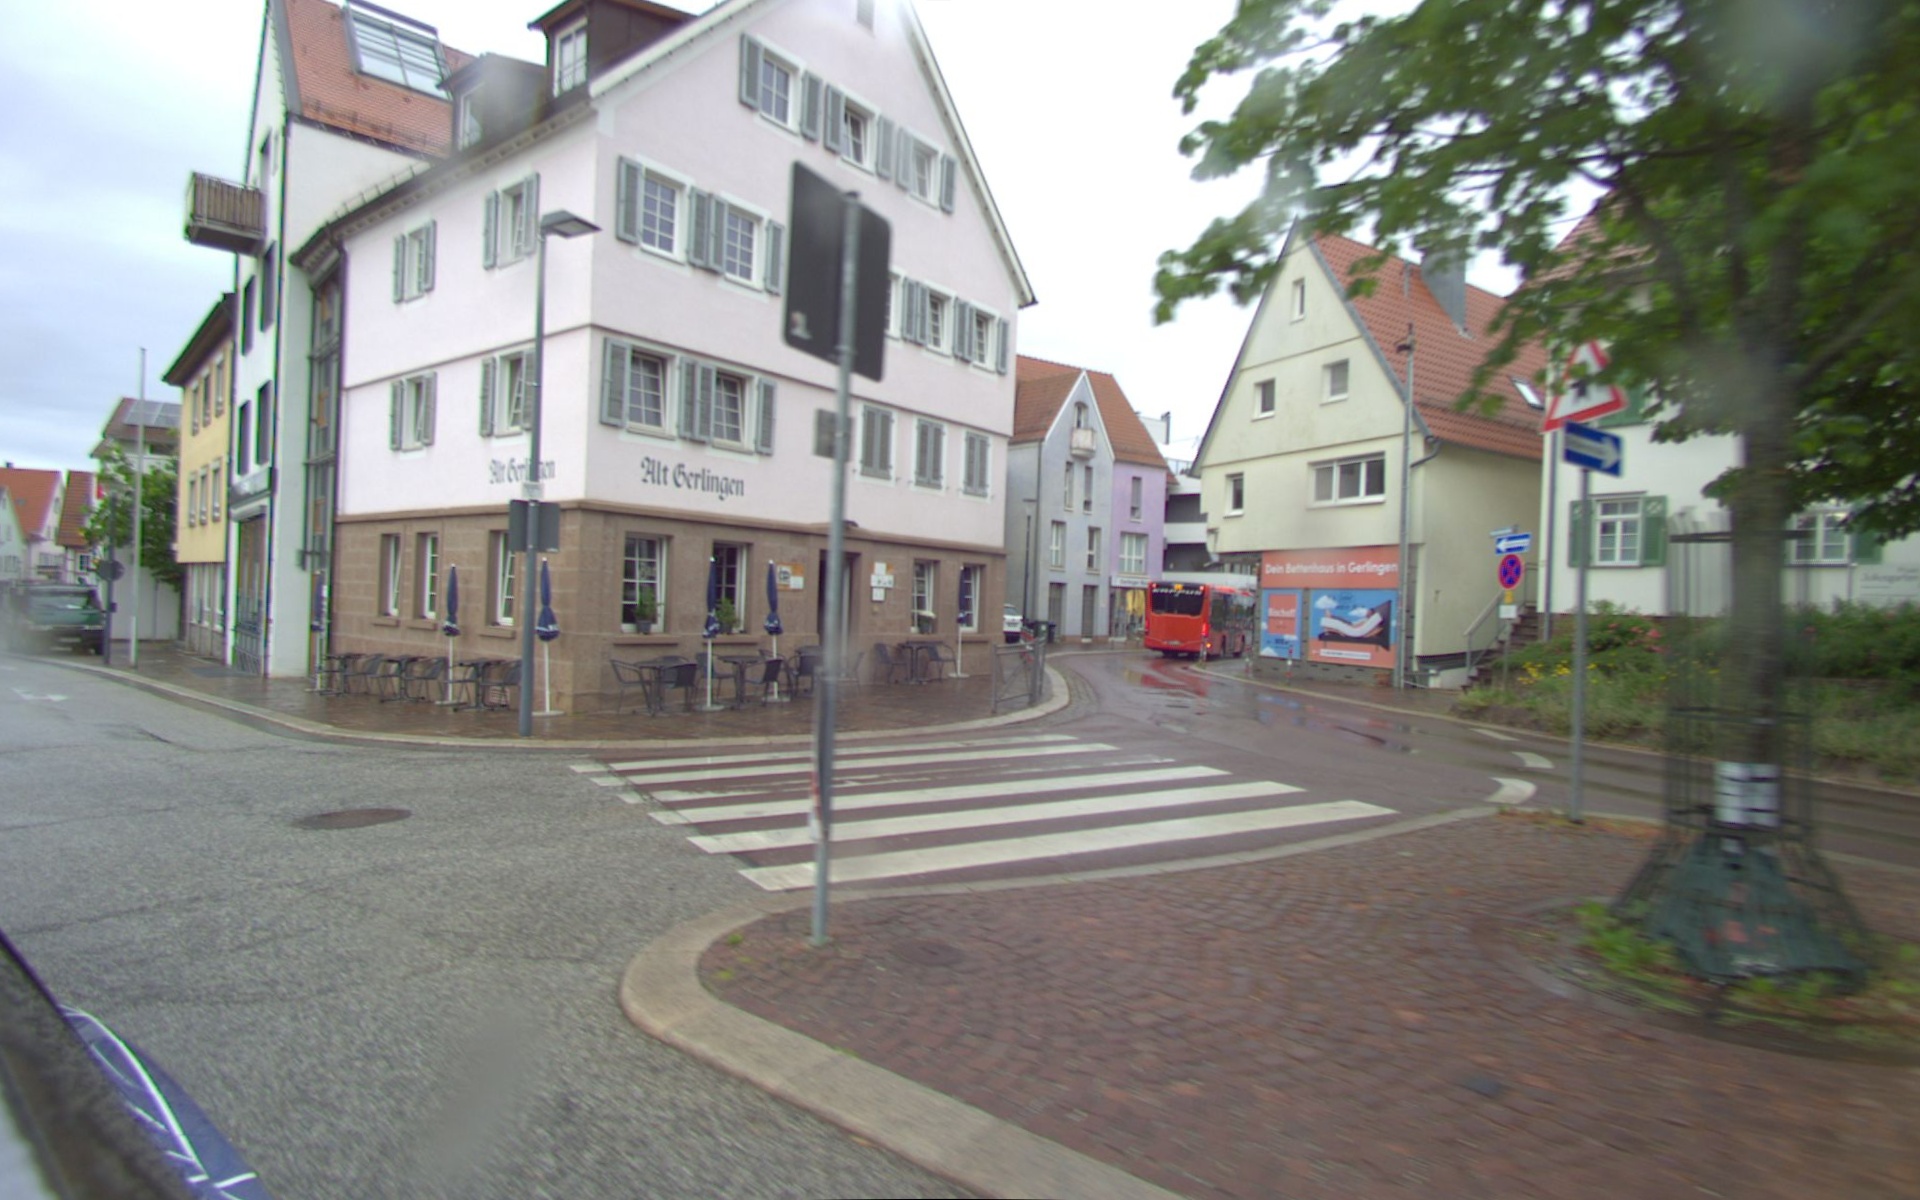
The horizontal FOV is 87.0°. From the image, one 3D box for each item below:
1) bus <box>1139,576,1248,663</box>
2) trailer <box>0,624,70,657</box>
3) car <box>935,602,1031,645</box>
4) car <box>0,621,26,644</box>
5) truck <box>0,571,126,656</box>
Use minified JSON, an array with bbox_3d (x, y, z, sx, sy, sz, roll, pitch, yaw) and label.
[{"bbox_3d":[10.393,0.968,44.006,2.833,3.283,10.535,1,-2,23],"label":"bus"},{"bbox_3d":[-34.238,1.502,37.204,3.016,1.133,1.834,-3,-3,40],"label":"trailer"},{"bbox_3d":[0.898,0.951,41.389,1.801,1.634,3.896,3,-2,-39],"label":"car"},{"bbox_3d":[-64.082,2.154,67.944,1.780,1.453,4.007,1,-1,-40],"label":"car"},{"bbox_3d":[-30.526,0.554,34.256,6.477,2.615,2.375,-3,-3,40],"label":"truck"}]
